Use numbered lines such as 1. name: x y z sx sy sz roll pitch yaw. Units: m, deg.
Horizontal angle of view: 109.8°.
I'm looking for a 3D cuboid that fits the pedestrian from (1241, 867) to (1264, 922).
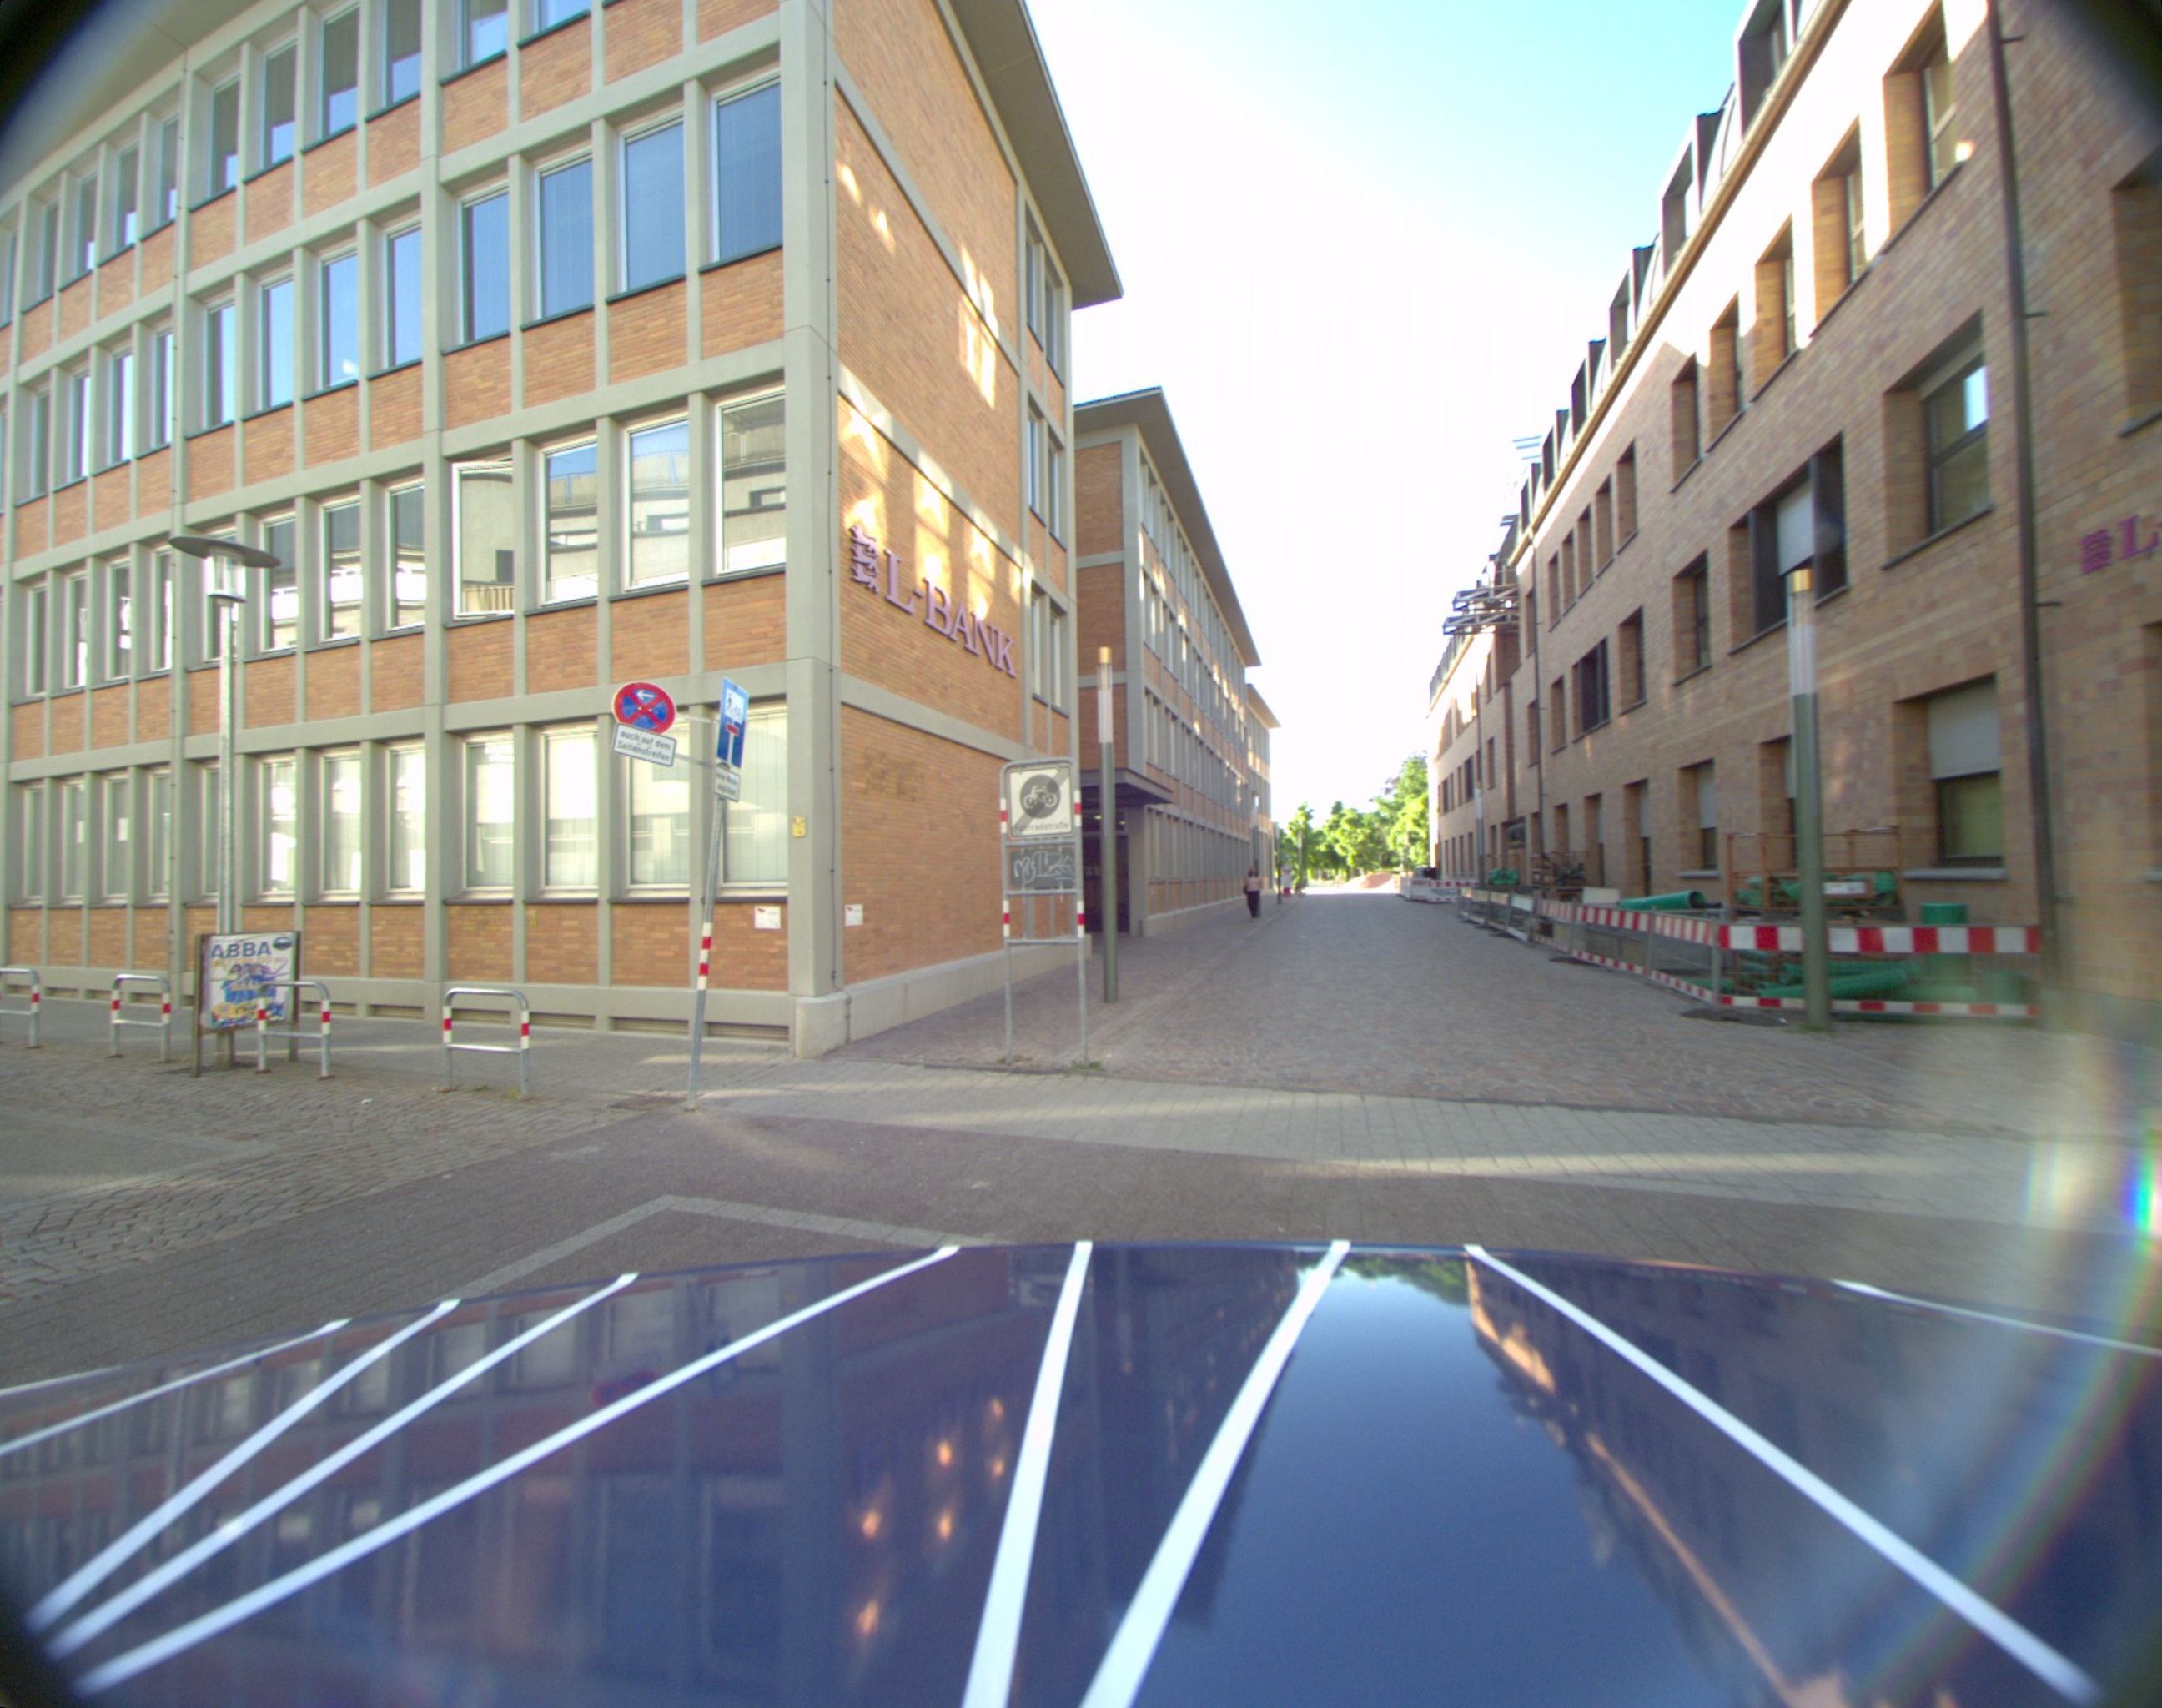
1. pedestrian: 5.667 1.339 25.086 0.637 1.774 0.653 -1 -3 18
